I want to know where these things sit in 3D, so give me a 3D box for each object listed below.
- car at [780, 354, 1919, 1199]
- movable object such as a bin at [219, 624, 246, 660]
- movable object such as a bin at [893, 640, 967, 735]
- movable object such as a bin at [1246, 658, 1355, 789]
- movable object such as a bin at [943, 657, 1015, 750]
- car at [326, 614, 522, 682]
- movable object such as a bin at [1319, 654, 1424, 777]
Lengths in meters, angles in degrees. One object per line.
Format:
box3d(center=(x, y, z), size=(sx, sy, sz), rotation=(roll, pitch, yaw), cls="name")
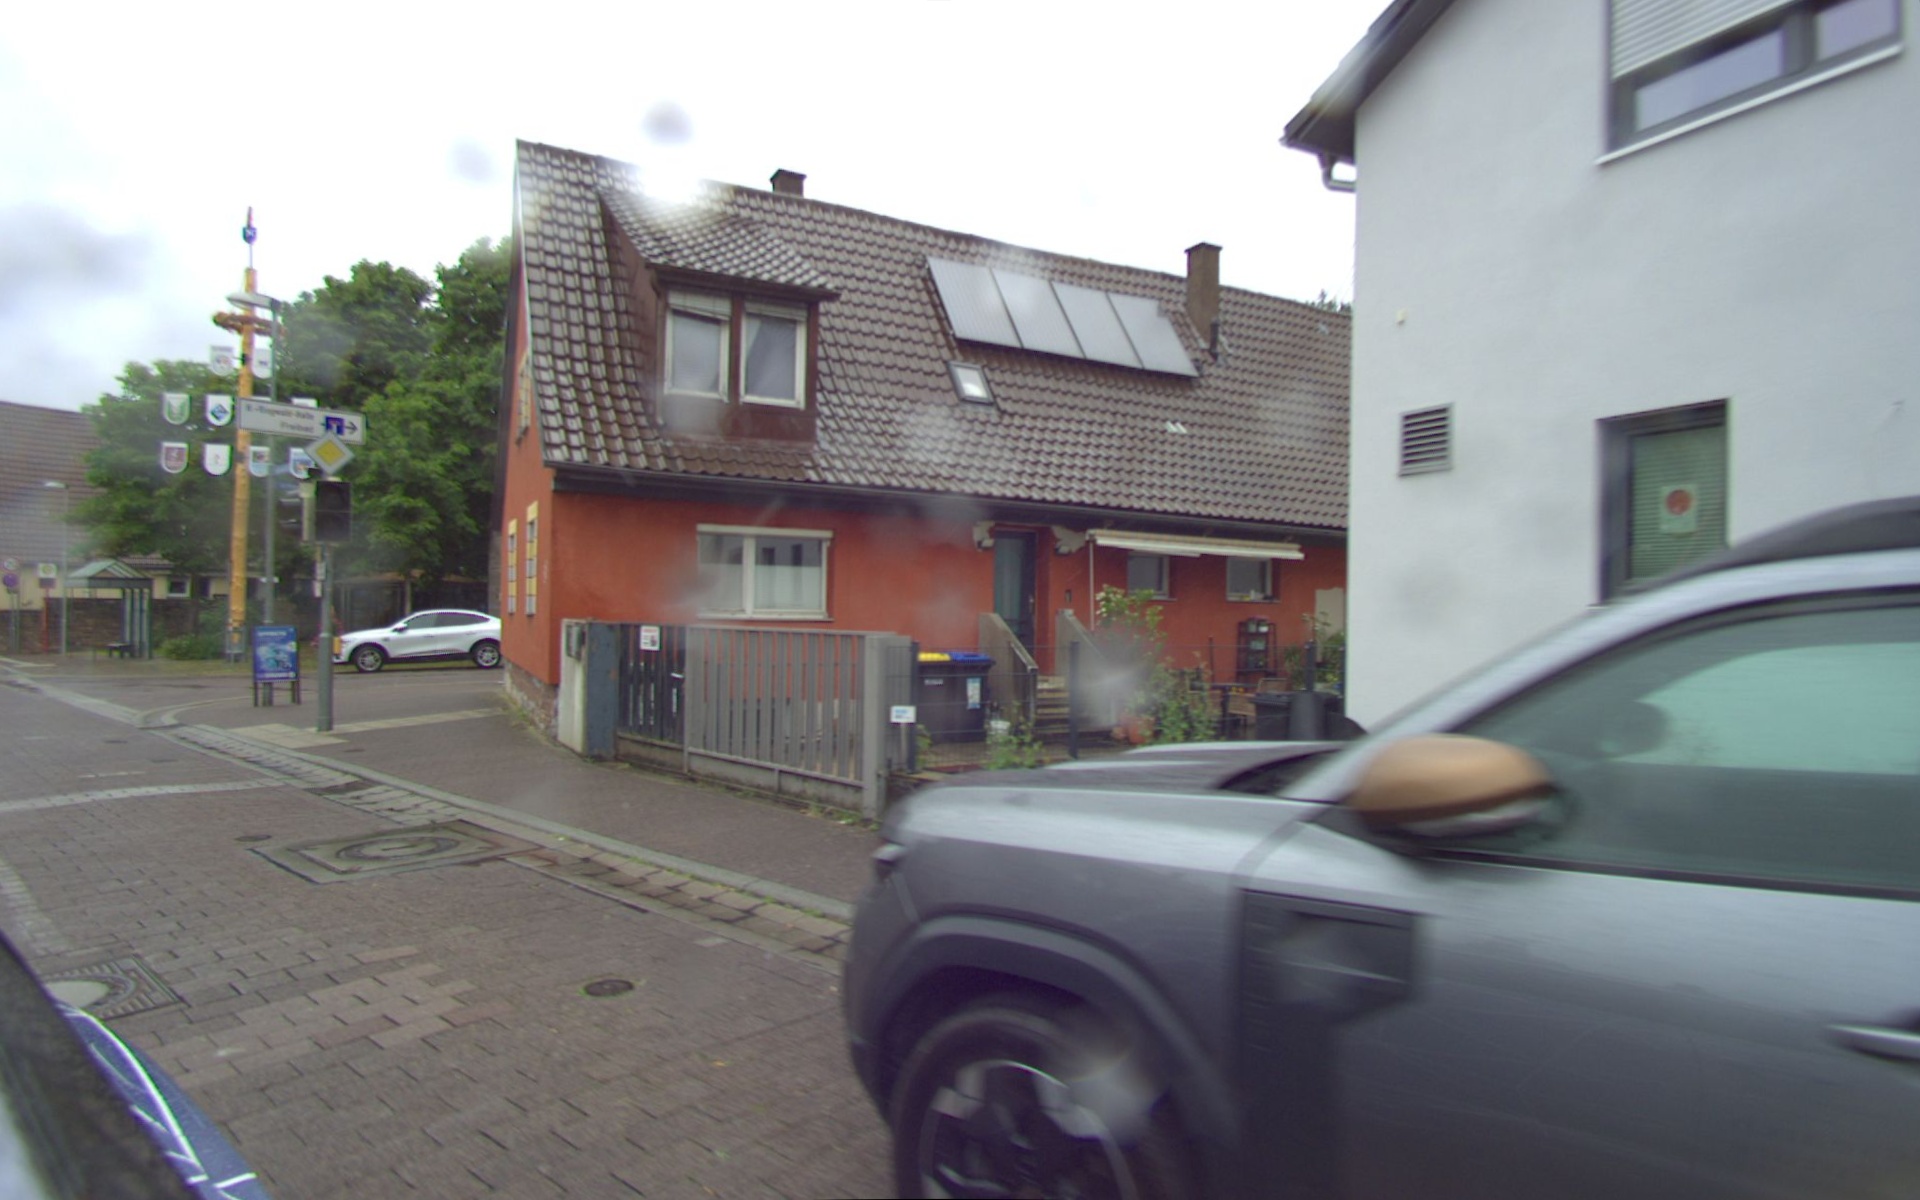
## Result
box3d(center=(1.710, 0.648, 1.634), size=(4.014, 1.793, 1.794), rotation=(-2, -2, 40), cls="car")
box3d(center=(-23.960, 1.380, 33.336), size=(0.604, 1.155, 0.556), rotation=(1, 0, 39), cls="movable object such as a bin")
box3d(center=(-0.362, 1.013, 11.987), size=(0.637, 1.064, 0.622), rotation=(2, -2, -32), cls="movable object such as a bin")
box3d(center=(3.049, 1.082, 9.080), size=(0.603, 1.063, 0.677), rotation=(-1, 0, -27), cls="movable object such as a bin")
box3d(center=(0.229, 1.246, 12.376), size=(0.637, 1.064, 0.622), rotation=(2, -2, -32), cls="movable object such as a bin")
box3d(center=(-13.959, 1.212, 26.543), size=(4.384, 1.561, 1.888), rotation=(-1, -1, -28), cls="car")
box3d(center=(3.898, 1.071, 9.616), size=(0.603, 1.063, 0.677), rotation=(-1, 0, -27), cls="movable object such as a bin")
